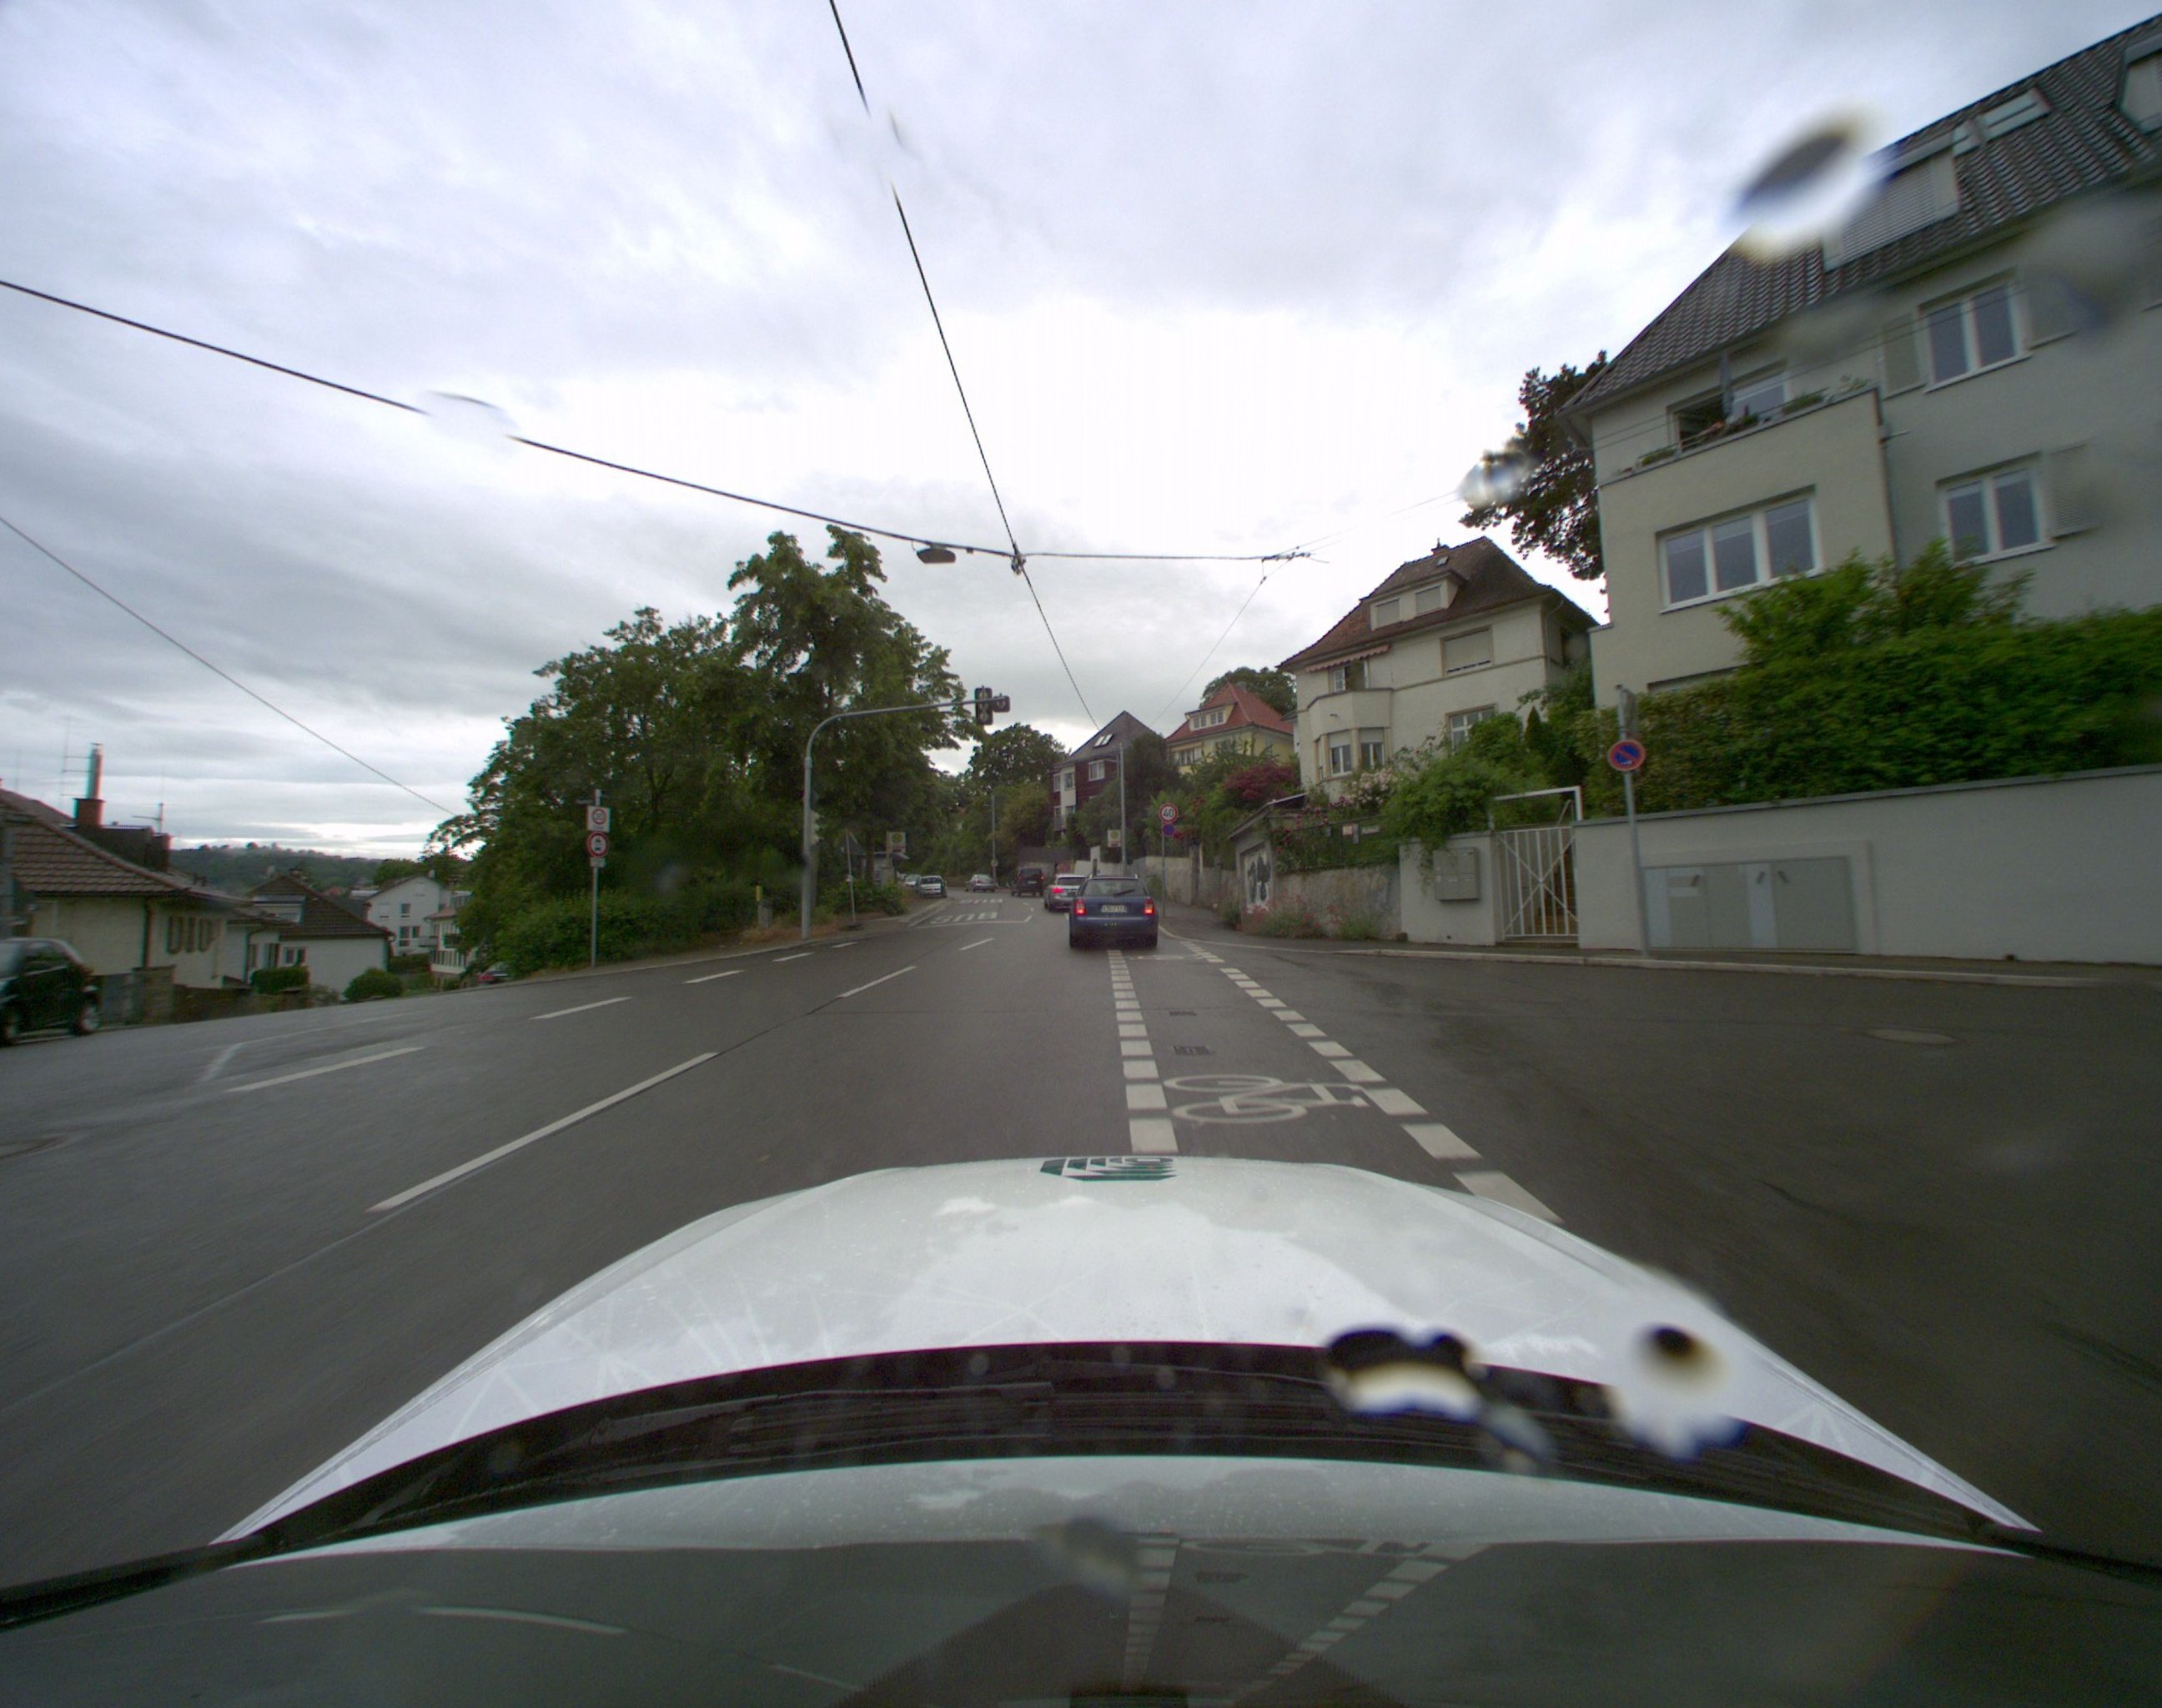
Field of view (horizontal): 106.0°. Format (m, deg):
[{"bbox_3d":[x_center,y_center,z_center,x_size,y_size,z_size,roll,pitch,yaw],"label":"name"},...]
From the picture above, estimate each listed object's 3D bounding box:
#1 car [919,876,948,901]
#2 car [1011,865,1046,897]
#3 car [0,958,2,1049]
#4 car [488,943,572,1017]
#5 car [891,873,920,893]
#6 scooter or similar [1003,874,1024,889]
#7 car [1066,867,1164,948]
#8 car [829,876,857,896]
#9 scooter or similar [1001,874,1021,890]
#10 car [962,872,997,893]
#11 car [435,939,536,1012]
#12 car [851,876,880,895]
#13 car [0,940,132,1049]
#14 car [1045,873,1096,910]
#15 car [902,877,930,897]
[{"bbox_3d":[-9.333,2.143,51.417,1.674,1.427,3.984,-2,-1,-11],"label":"car"},{"bbox_3d":[-3.343,1.694,51.489,1.731,1.894,4.041,-2,-1,-10],"label":"car"},{"bbox_3d":[-13.204,1.616,8.409,1.698,1.509,3.963,-3,-3,-41],"label":"car"},{"bbox_3d":[-19.190,4.309,28.541,1.756,2.014,3.967,-1,-2,-24],"label":"car"},{"bbox_3d":[-14.536,2.415,67.219,1.680,1.552,3.873,-2,-1,-22],"label":"car"},{"bbox_3d":[-6.334,2.600,76.633,1.835,1.315,0.597,4,-5,-11],"label":"scooter or similar"},{"bbox_3d":[0.658,1.049,17.059,1.771,1.439,4.000,-2,-2,1],"label":"car"},{"bbox_3d":[-25.152,3.394,85.890,2.005,2.014,3.962,-2,-1,-29],"label":"car"},{"bbox_3d":[-6.643,2.671,77.476,1.835,1.315,0.597,4,-5,-11],"label":"scooter or similar"},{"bbox_3d":[-8.166,2.265,65.201,1.773,1.570,4.001,-2,-1,-21],"label":"car"},{"bbox_3d":[-17.132,3.453,23.621,1.853,1.751,3.960,6,-6,-31],"label":"car"},{"bbox_3d":[-21.246,3.086,80.141,2.004,1.728,3.966,-3,-1,-26],"label":"car"},{"bbox_3d":[-15.674,2.046,11.761,1.569,1.430,2.892,-3,-4,-27],"label":"car"},{"bbox_3d":[-0.454,1.503,32.847,1.904,1.389,4.346,1,-2,-2],"label":"car"},{"bbox_3d":[-12.688,2.510,62.548,1.678,1.427,3.976,-2,-1,-17],"label":"car"}]
